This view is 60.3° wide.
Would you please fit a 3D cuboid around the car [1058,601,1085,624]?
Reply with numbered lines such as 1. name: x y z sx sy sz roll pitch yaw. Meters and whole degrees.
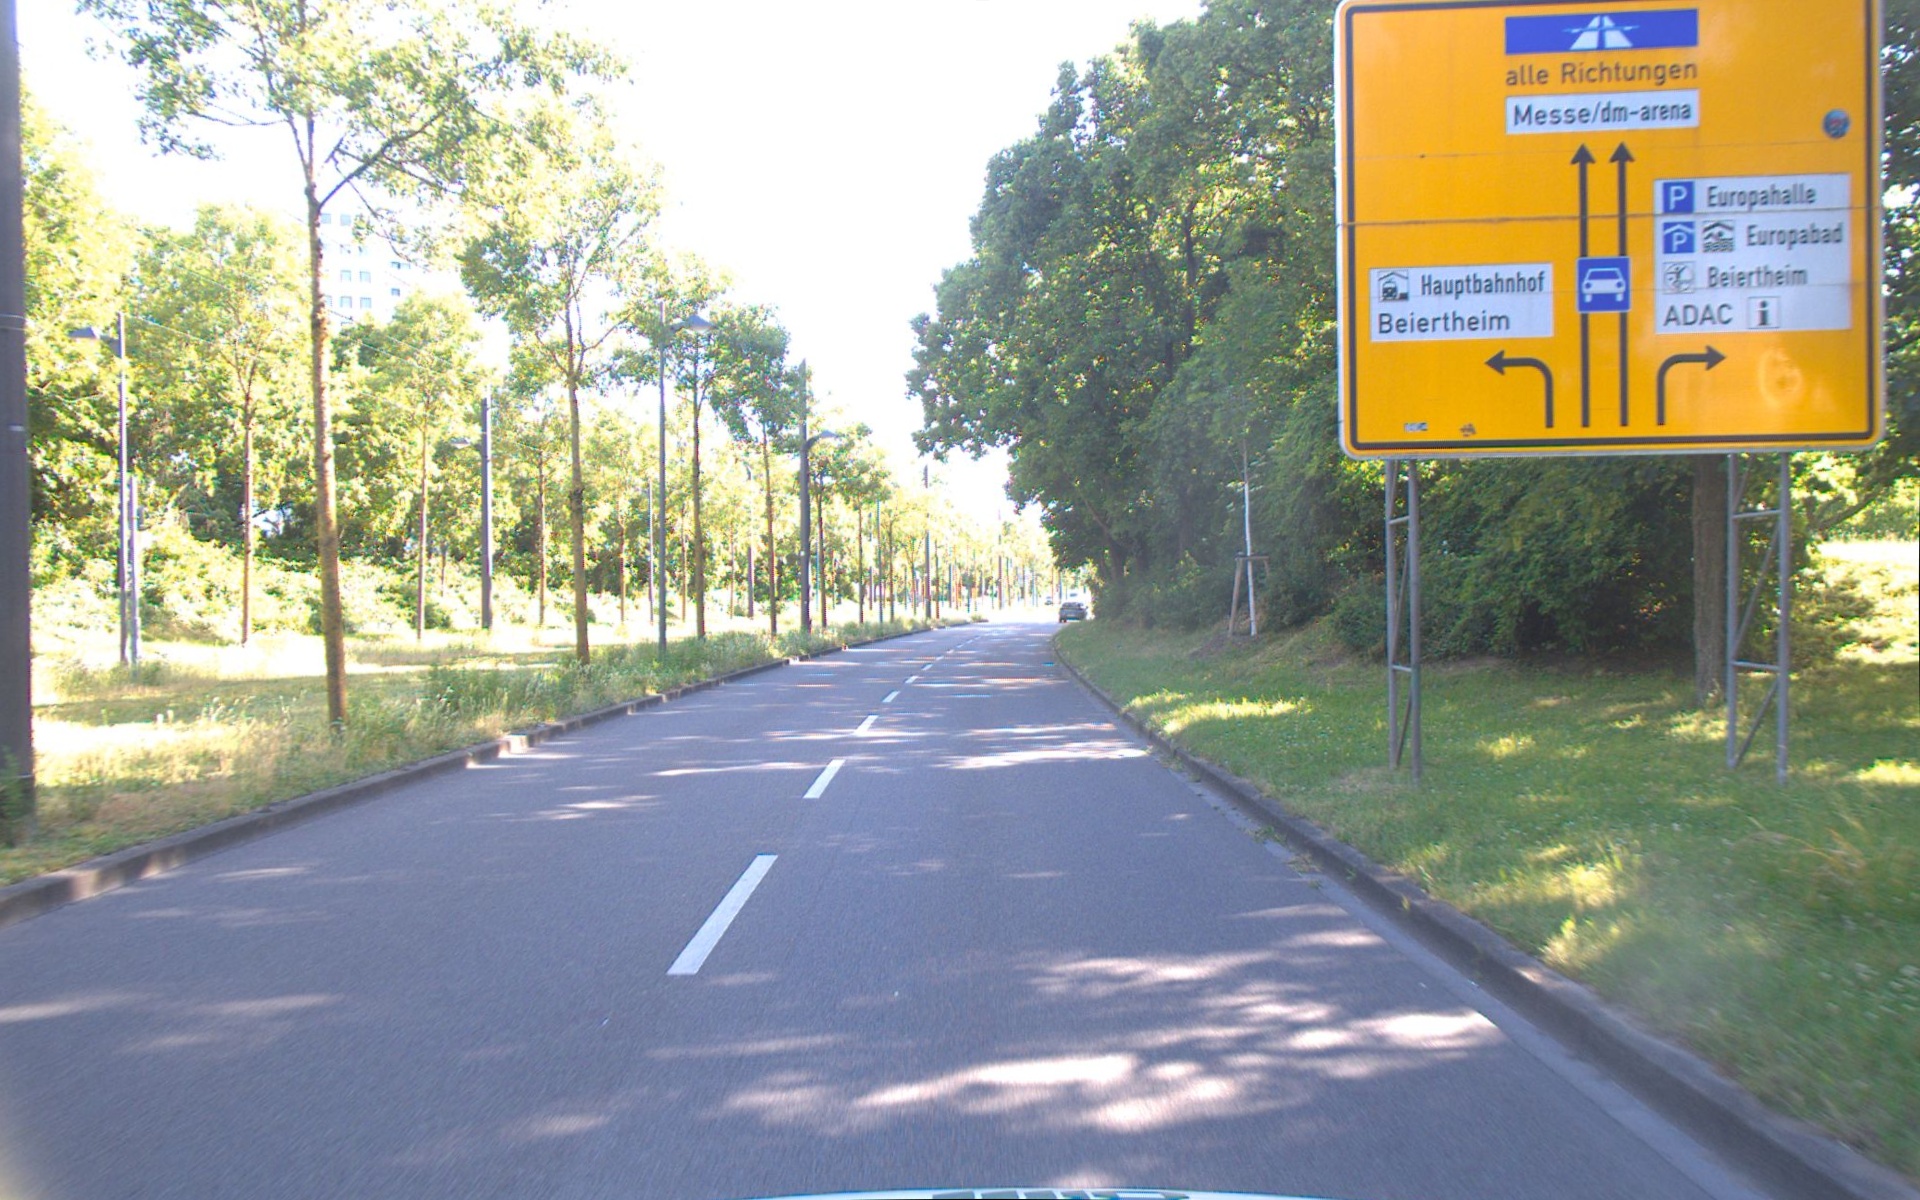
1. car: 7.605 0.828 112.987 1.599 1.524 4.238 0 0 7
